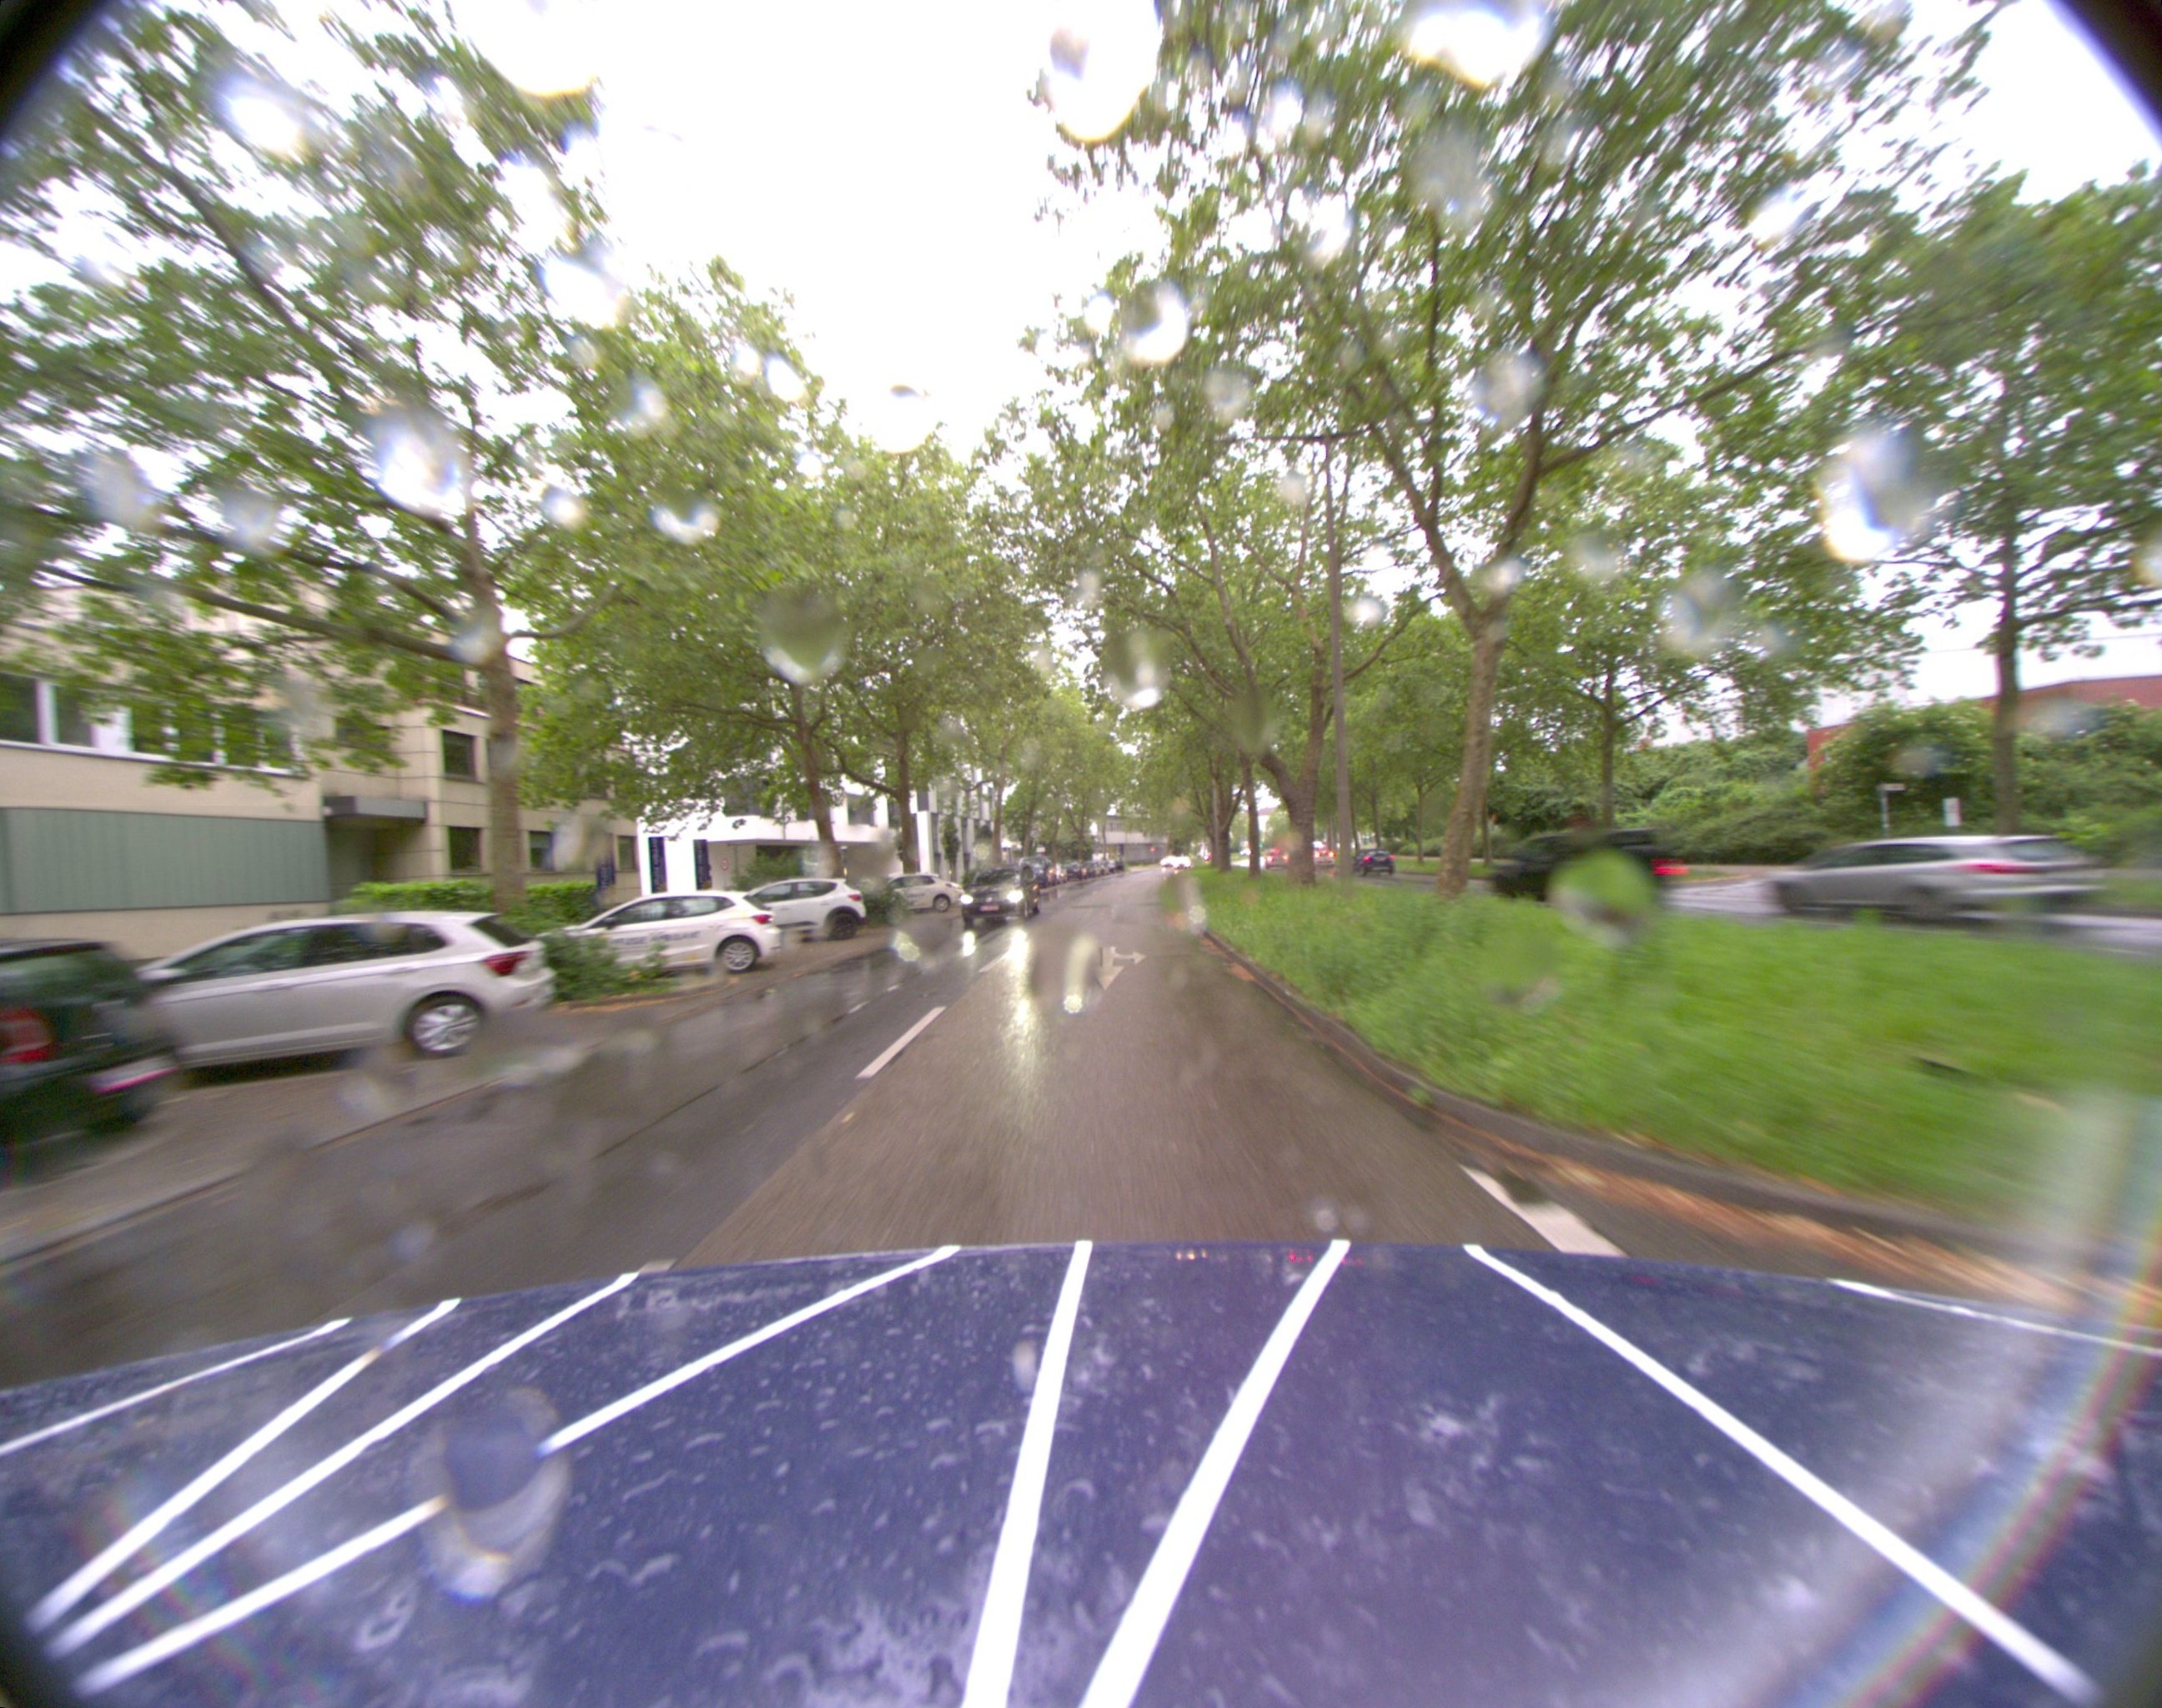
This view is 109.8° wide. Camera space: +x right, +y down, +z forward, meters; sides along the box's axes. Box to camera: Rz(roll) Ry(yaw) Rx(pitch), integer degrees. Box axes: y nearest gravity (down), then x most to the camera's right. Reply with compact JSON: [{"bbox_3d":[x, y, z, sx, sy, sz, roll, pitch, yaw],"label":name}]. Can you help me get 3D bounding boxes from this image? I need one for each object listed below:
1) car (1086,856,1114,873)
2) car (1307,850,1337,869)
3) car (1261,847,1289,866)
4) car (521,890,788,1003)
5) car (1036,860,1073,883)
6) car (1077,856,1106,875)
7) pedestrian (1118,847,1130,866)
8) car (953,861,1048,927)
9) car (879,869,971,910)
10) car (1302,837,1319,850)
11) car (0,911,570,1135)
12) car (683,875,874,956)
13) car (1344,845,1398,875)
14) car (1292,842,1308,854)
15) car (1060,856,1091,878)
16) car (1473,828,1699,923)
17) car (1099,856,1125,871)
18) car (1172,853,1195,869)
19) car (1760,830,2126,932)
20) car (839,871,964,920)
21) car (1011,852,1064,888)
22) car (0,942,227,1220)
[{"bbox_3d":[1.911,1.020,74.569,1.746,1.420,5.108,-3,0,11],"label":"car"},{"bbox_3d":[20.693,0.458,65.408,1.747,1.467,4.084,-3,0,7],"label":"car"},{"bbox_3d":[17.324,0.217,68.036,1.747,1.582,4.332,-3,0,7],"label":"car"},{"bbox_3d":[-7.059,1.477,13.016,3.696,1.408,1.746,-3,0,-22],"label":"car"},{"bbox_3d":[-1.863,1.245,55.174,1.746,1.460,4.309,-3,0,9],"label":"car"},{"bbox_3d":[0.972,1.034,68.736,1.746,1.467,4.086,-3,0,13],"label":"car"},{"bbox_3d":[4.685,0.253,82.250,0.900,2.002,0.832,-3,1,-24],"label":"pedestrian"},{"bbox_3d":[-2.310,1.099,23.364,1.998,1.585,5.590,-4,0,3],"label":"car"},{"bbox_3d":[-6.539,1.458,32.032,3.647,1.495,1.748,-3,-1,-10],"label":"car"},{"bbox_3d":[41.761,-1.916,138.317,2.032,2.213,5.443,-3,0,27],"label":"car"},{"bbox_3d":[-7.493,1.463,7.568,3.697,1.408,1.772,-3,0,-26],"label":"car"},{"bbox_3d":[-7.265,1.393,18.335,4.043,1.530,1.745,-3,0,-27],"label":"car"},{"bbox_3d":[17.232,0.325,45.409,1.747,1.582,4.210,-3,0,3],"label":"car"},{"bbox_3d":[28.616,-0.749,99.309,1.745,1.451,3.846,-3,0,19],"label":"car"},{"bbox_3d":[-0.403,1.038,61.627,1.746,1.557,4.374,-3,0,9],"label":"car"},{"bbox_3d":[11.529,0.433,17.911,1.748,1.831,5.119,-3,0,-2],"label":"car"},{"bbox_3d":[3.296,1.012,80.985,1.746,1.420,4.864,-1,1,15],"label":"car"},{"bbox_3d":[11.884,0.775,87.915,1.996,1.620,4.526,-4,0,15],"label":"car"},{"bbox_3d":[15.154,0.418,13.799,1.748,1.467,4.234,-3,0,-1],"label":"car"},{"bbox_3d":[-6.500,1.444,27.539,4.043,1.420,1.746,-3,0,-25],"label":"car"},{"bbox_3d":[-2.737,0.986,49.023,2.125,2.016,5.531,-3,0,9],"label":"car"},{"bbox_3d":[-7.973,1.456,4.315,3.697,1.408,1.745,-3,0,-26],"label":"car"}]
